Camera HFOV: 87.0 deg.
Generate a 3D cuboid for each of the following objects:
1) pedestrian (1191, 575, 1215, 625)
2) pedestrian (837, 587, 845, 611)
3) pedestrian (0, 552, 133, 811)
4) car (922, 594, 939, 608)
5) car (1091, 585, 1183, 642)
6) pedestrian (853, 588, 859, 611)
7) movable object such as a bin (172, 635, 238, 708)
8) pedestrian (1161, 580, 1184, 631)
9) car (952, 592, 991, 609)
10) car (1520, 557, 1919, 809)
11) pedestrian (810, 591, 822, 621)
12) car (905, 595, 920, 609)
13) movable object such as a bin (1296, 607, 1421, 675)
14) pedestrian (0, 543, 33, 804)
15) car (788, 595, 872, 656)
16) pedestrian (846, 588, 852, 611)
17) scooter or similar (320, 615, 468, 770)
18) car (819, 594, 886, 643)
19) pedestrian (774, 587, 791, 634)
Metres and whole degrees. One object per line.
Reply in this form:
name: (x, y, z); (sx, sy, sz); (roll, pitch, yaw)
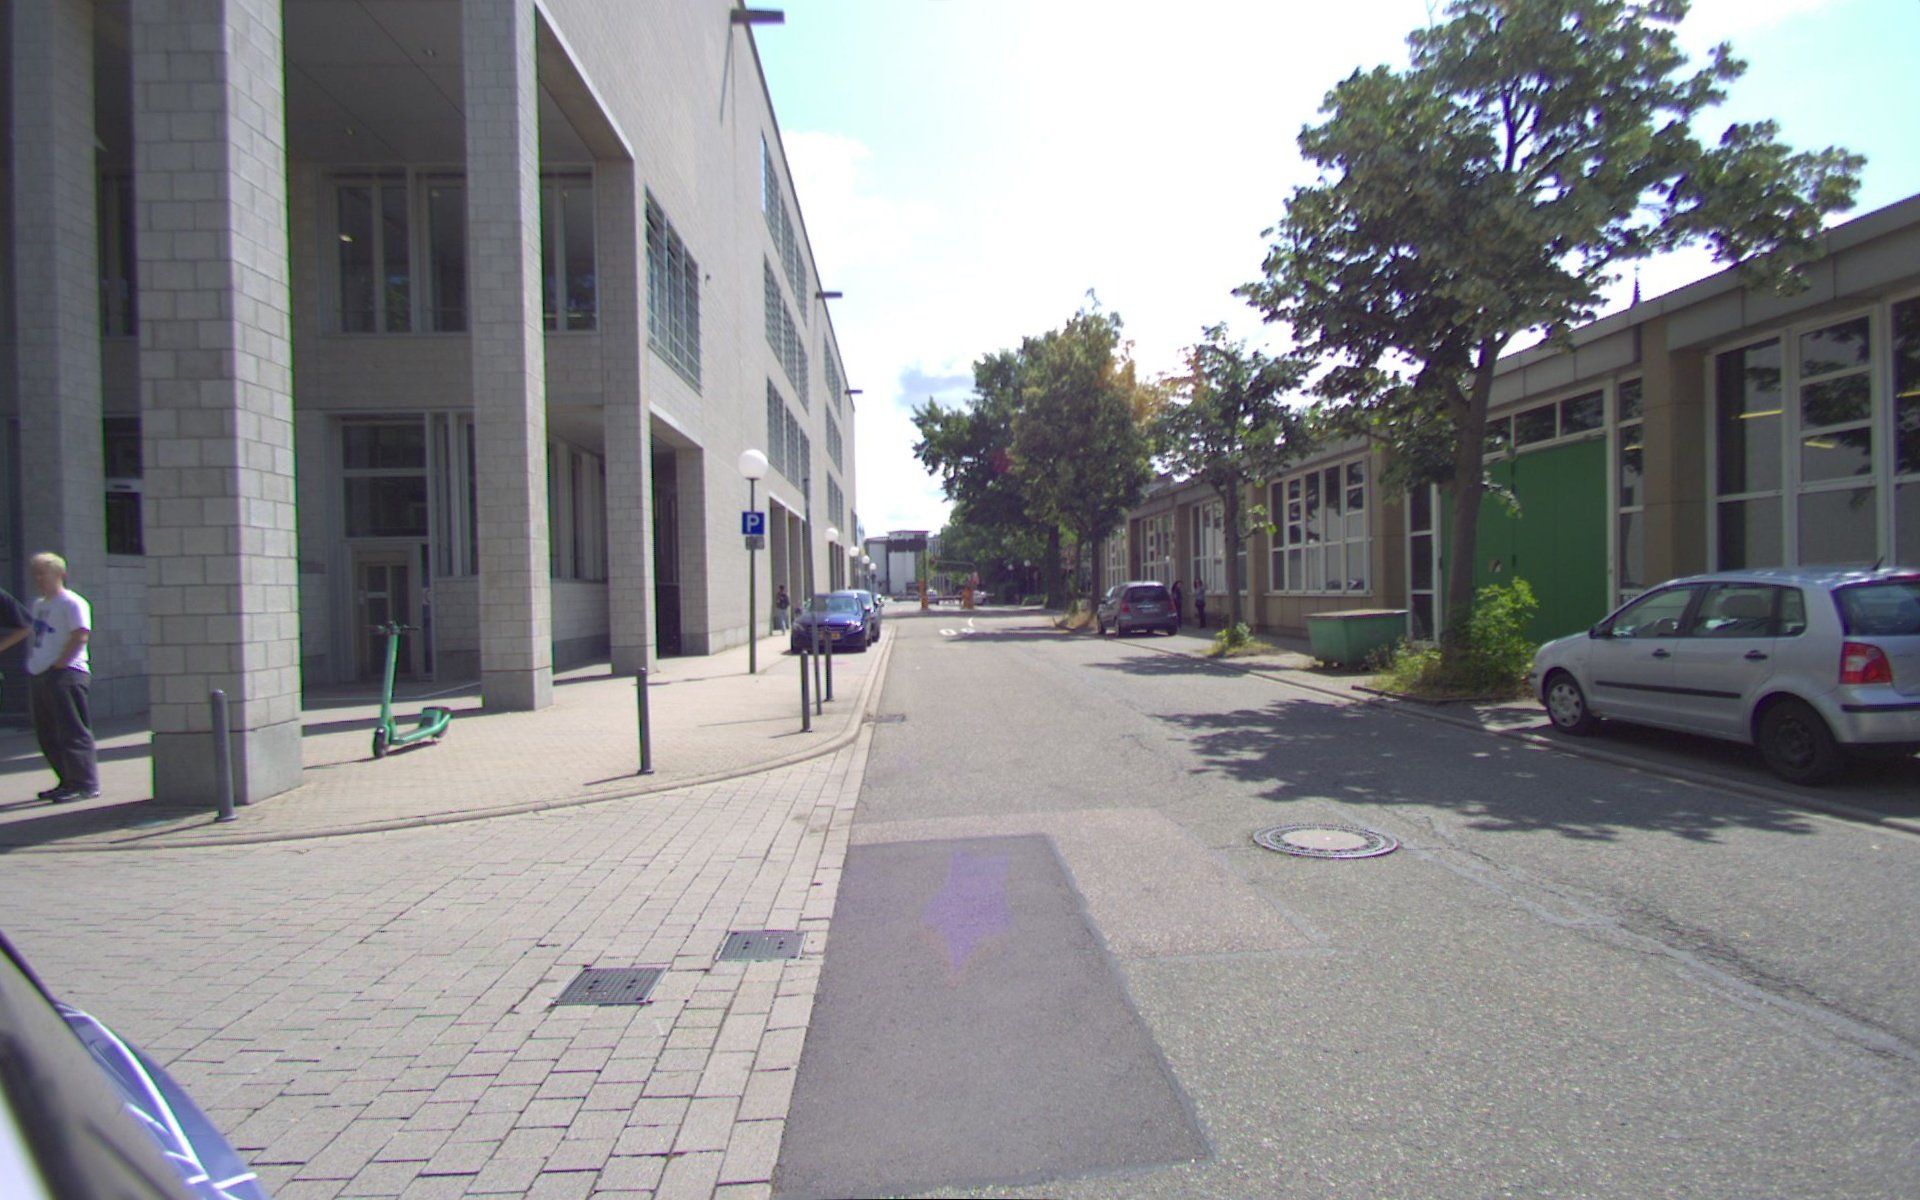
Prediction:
pedestrian: (7.715, -0.001, 32.173); (0.596, 1.593, 0.552); (1, -1, -5)
pedestrian: (-8.322, -0.054, 70.859); (0.435, 1.642, 0.570); (1, -1, -2)
pedestrian: (-6.355, 0.547, 7.107); (0.605, 1.742, 0.543); (-1, 1, -1)
car: (-3.517, 0.095, 120.141); (1.778, 1.460, 3.679); (-4, 1, -4)
car: (5.221, 0.362, 30.248); (1.778, 1.460, 3.680); (-4, 1, -4)
pedestrian: (-7.279, -0.027, 70.884); (0.377, 1.642, 0.519); (1, -1, -2)
movable object such as a bin: (-10.390, 0.980, 13.941); (0.505, 0.956, 0.512); (2, -1, -4)
pedestrian: (6.730, 0.175, 32.057); (0.603, 1.593, 0.546); (0, -1, 28)
car: (1.160, 0.044, 100.073); (3.621, 1.460, 1.806); (-4, 1, -4)
car: (6.428, 0.463, 8.013); (1.611, 1.460, 3.756); (-4, 1, -4)
pedestrian: (-7.065, 0.290, 49.549); (0.459, 1.419, 0.464); (1, -1, 3)
car: (-7.333, 0.301, 155.922); (1.840, 1.985, 3.924); (2, -1, -8)
movable object such as a bin: (6.551, 0.650, 16.757); (1.277, 0.992, 1.697); (-4, 0, -2)
pedestrian: (-7.043, 0.515, 7.045); (0.620, 1.810, 0.798); (-1, 1, 44)
car: (-3.183, 0.622, 25.431); (1.817, 1.409, 3.880); (0, -1, -3)
pedestrian: (-7.785, -0.041, 70.878); (0.377, 1.642, 0.519); (1, -1, -2)
scooter or similar: (-4.996, 0.766, 9.032); (0.556, 1.221, 1.512); (1, 0, -4)
car: (-3.220, 0.555, 30.919); (1.817, 1.409, 3.880); (0, -1, -3)
pedestrian: (-6.057, 0.366, 34.534); (0.543, 1.593, 0.606); (1, -1, -6)
